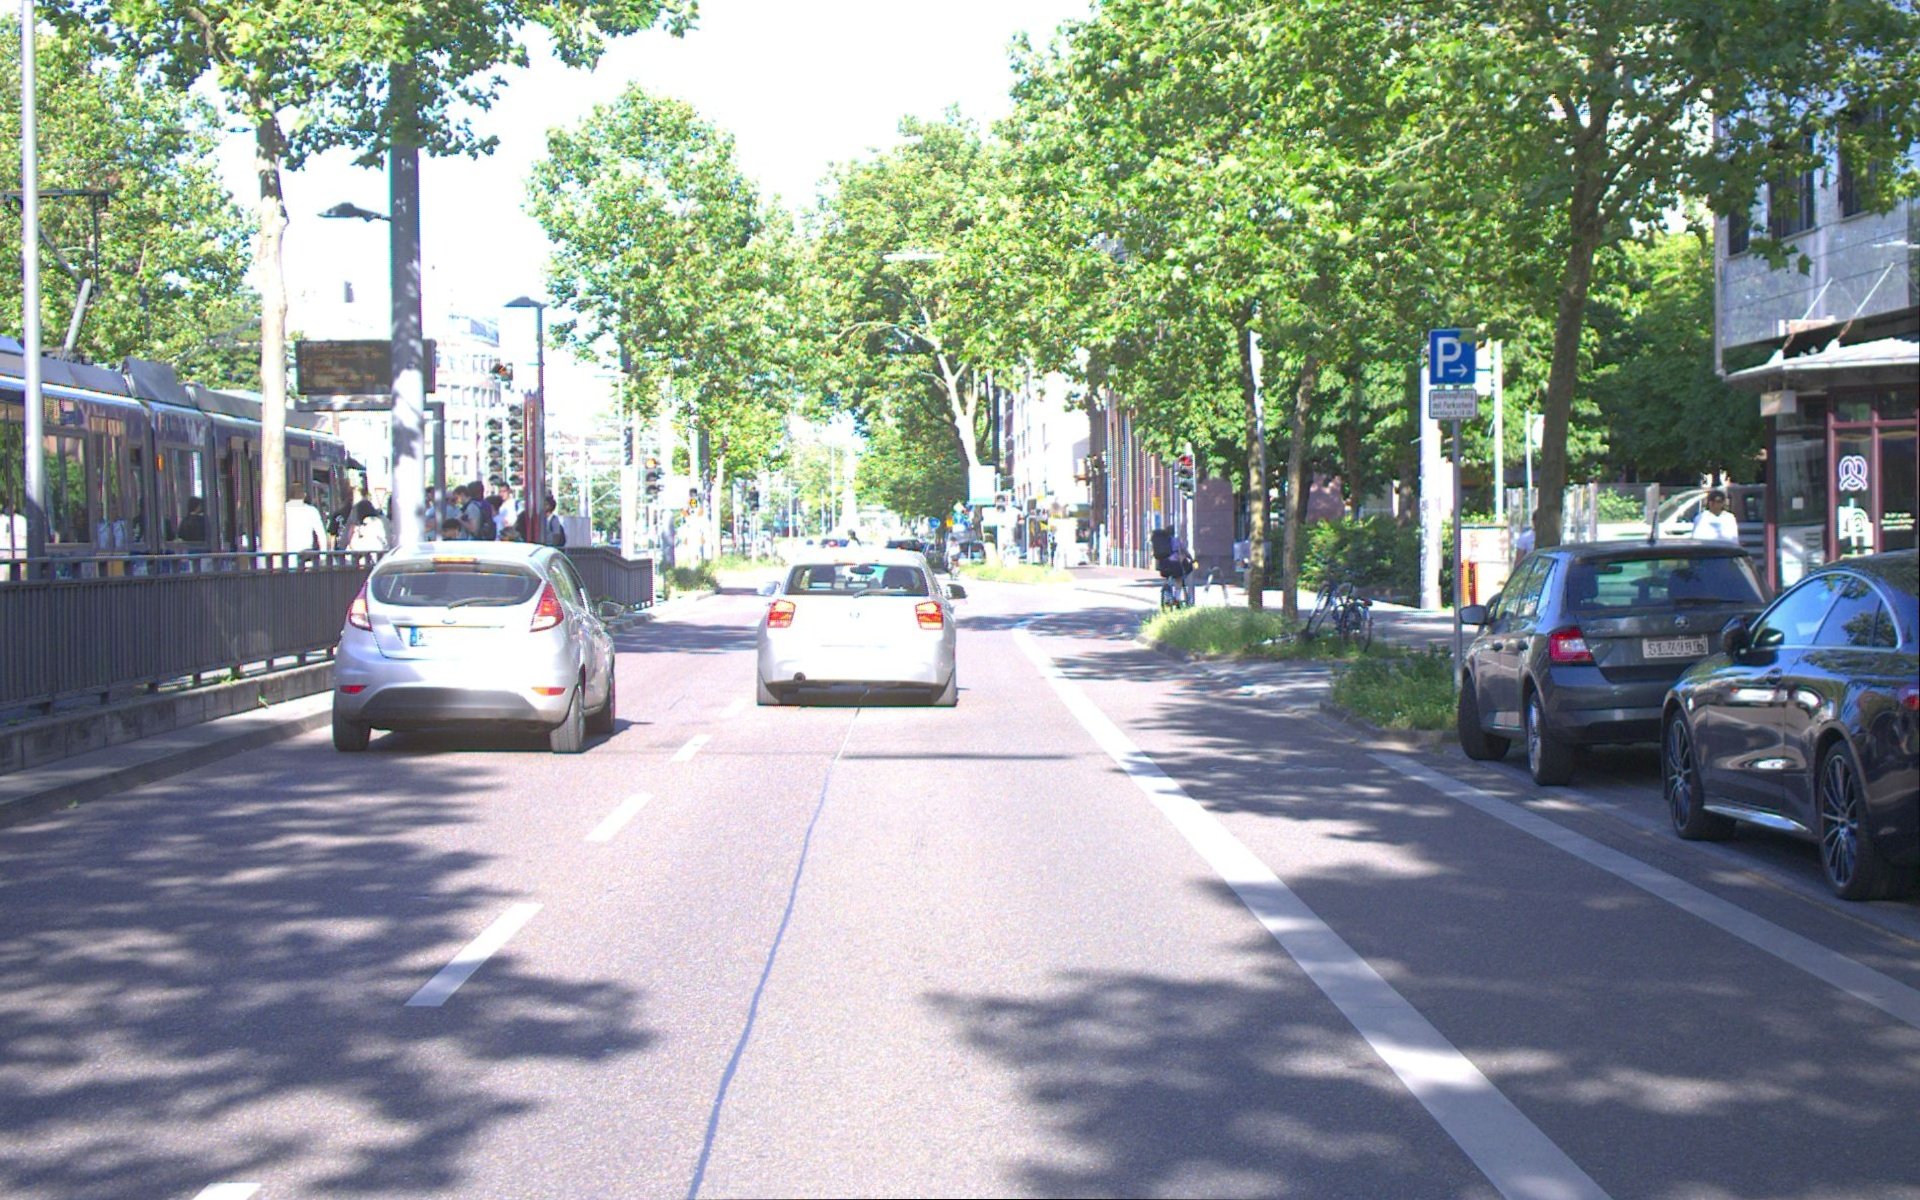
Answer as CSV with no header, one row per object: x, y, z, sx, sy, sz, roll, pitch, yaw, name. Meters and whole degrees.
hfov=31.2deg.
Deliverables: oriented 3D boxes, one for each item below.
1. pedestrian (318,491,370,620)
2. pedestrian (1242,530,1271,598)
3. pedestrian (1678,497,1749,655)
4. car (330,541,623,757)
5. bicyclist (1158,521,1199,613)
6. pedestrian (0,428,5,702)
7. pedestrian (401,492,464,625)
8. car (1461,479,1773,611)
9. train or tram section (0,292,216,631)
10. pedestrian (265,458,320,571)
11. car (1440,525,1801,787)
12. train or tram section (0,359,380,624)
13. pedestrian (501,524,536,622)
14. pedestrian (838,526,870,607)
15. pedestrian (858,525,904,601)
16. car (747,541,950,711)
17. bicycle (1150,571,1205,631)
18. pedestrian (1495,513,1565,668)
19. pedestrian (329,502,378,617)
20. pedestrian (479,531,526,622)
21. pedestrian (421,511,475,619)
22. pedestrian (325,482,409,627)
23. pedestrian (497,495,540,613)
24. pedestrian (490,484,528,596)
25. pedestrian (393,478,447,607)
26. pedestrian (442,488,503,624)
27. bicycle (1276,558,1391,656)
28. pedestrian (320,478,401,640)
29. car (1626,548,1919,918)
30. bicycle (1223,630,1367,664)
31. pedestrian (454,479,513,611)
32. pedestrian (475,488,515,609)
-8.216,-0.595,45.834,0.608,1.696,0.546,-1,1,-4,pedestrian
7.114,-0.864,82.504,0.627,1.623,0.943,1,1,8,pedestrian
8.441,-0.270,38.545,0.560,1.738,0.879,-1,1,-1,pedestrian
-3.378,0.305,24.569,1.660,1.404,3.632,1,1,-2,car
3.953,-0.596,62.205,0.658,1.652,0.764,-1,1,8,bicyclist
-6.010,-0.207,20.265,0.567,1.634,0.621,0,1,1,pedestrian
-6.515,-0.516,42.497,0.660,1.628,0.571,-1,1,1,pedestrian
11.222,-0.949,58.973,4.897,1.978,1.913,-3,1,0,car
-10.699,-1.357,35.041,2.914,3.249,15.894,1,0,-1,train or tram section
-7.751,-0.988,39.940,0.534,1.295,0.604,-1,1,-4,pedestrian
4.185,0.304,22.325,1.565,1.545,4.000,0,1,0,car
-10.878,-1.350,49.576,2.914,3.249,13.113,1,0,-1,train or tram section
-5.960,-0.363,46.432,0.415,1.311,0.507,-1,1,-2,pedestrian
-2.152,-0.674,69.809,0.639,1.614,0.642,-1,-2,-3,pedestrian
-1.624,-0.760,70.895,0.830,1.570,0.739,0,0,7,pedestrian
-1.007,0.195,31.670,1.730,1.385,3.840,1,2,-1,car
3.940,0.015,62.212,0.832,1.038,1.874,-1,1,8,bicycle
6.359,-0.109,38.377,0.560,1.698,1.052,-1,1,-1,pedestrian
-8.058,-0.540,45.701,0.545,1.513,0.531,-1,1,-1,pedestrian
-6.028,-0.317,45.290,0.545,1.188,0.531,-1,1,-1,pedestrian
-5.934,-0.408,39.850,0.534,1.242,0.604,-1,1,-2,pedestrian
-6.272,-0.486,36.412,0.775,1.504,0.752,-1,1,-4,pedestrian
-6.536,-0.680,50.859,0.547,1.728,0.540,-1,1,-15,pedestrian
-7.071,-0.942,53.884,0.547,1.728,0.540,-1,1,-4,pedestrian
-7.147,-0.763,45.536,0.632,1.696,0.747,-1,1,-4,pedestrian
-6.139,-0.554,43.283,0.660,1.690,0.571,-1,1,1,pedestrian
4.451,0.075,41.111,0.788,1.129,1.847,-1,1,-13,bicycle
-6.578,-0.448,37.729,0.775,1.746,0.723,-1,1,-4,pedestrian
4.398,0.481,15.532,1.761,1.413,4.701,0,1,-1,car
4.061,0.569,41.816,1.608,0.352,1.389,-1,1,0,bicycle
-6.163,-0.716,44.462,0.660,1.690,0.571,-1,1,1,pedestrian
-6.603,-0.735,48.819,0.505,1.696,0.612,-1,1,-4,pedestrian
